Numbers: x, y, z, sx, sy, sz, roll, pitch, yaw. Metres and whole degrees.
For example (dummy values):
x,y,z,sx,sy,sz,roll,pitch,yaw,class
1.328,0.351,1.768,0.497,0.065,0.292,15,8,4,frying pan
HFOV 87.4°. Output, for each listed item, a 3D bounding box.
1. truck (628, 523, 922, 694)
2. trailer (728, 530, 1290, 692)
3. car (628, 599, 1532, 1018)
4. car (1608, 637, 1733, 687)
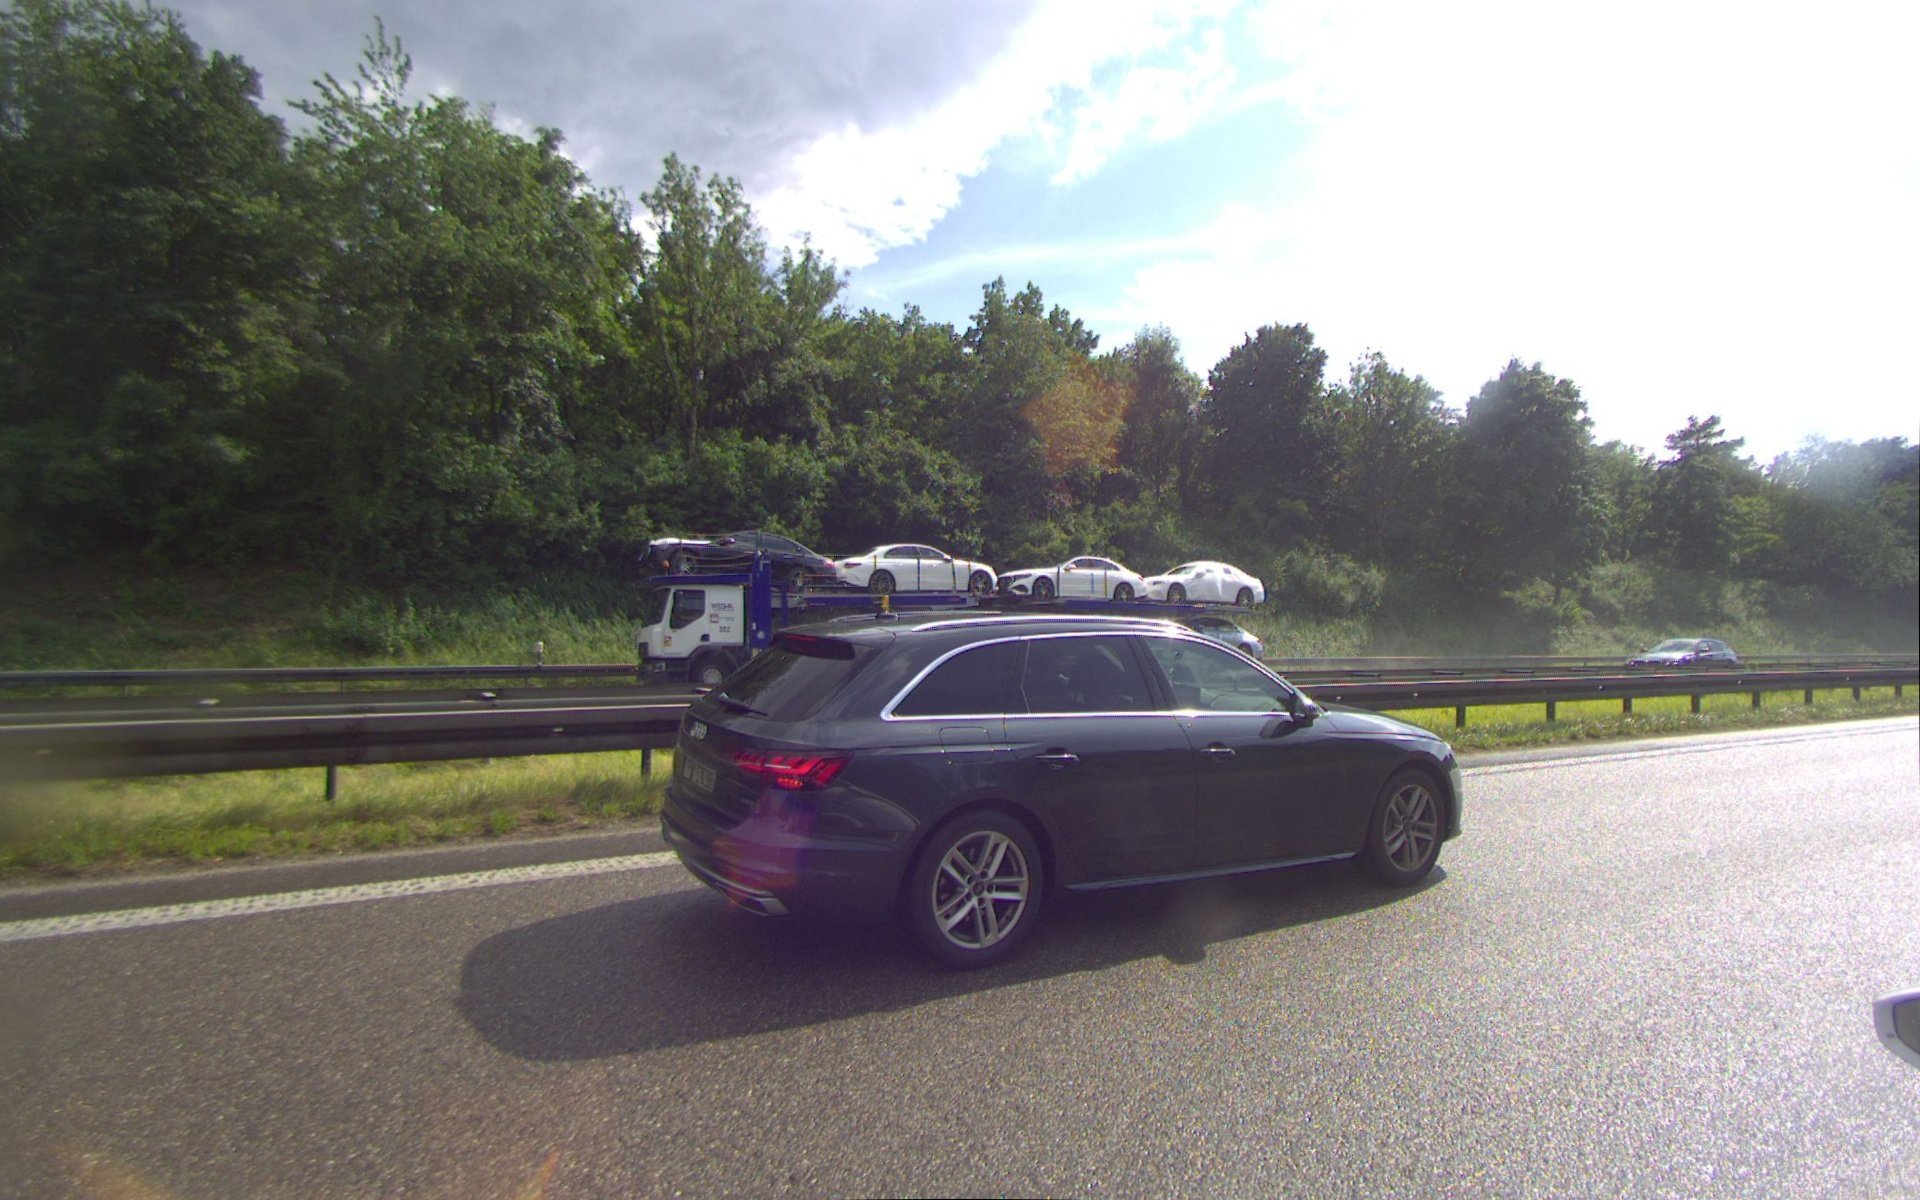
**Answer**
x,y,z,sx,sy,sz,roll,pitch,yaw,class
-4.698,0.267,25.822,6.781,3.882,2.977,2,0,-29,truck
2.302,0.489,29.789,17.736,3.882,2.977,2,0,-30,trailer
0.851,0.785,5.474,4.782,1.437,1.785,2,0,-30,car
23.959,2.049,33.839,4.477,1.519,1.808,2,0,-31,car
